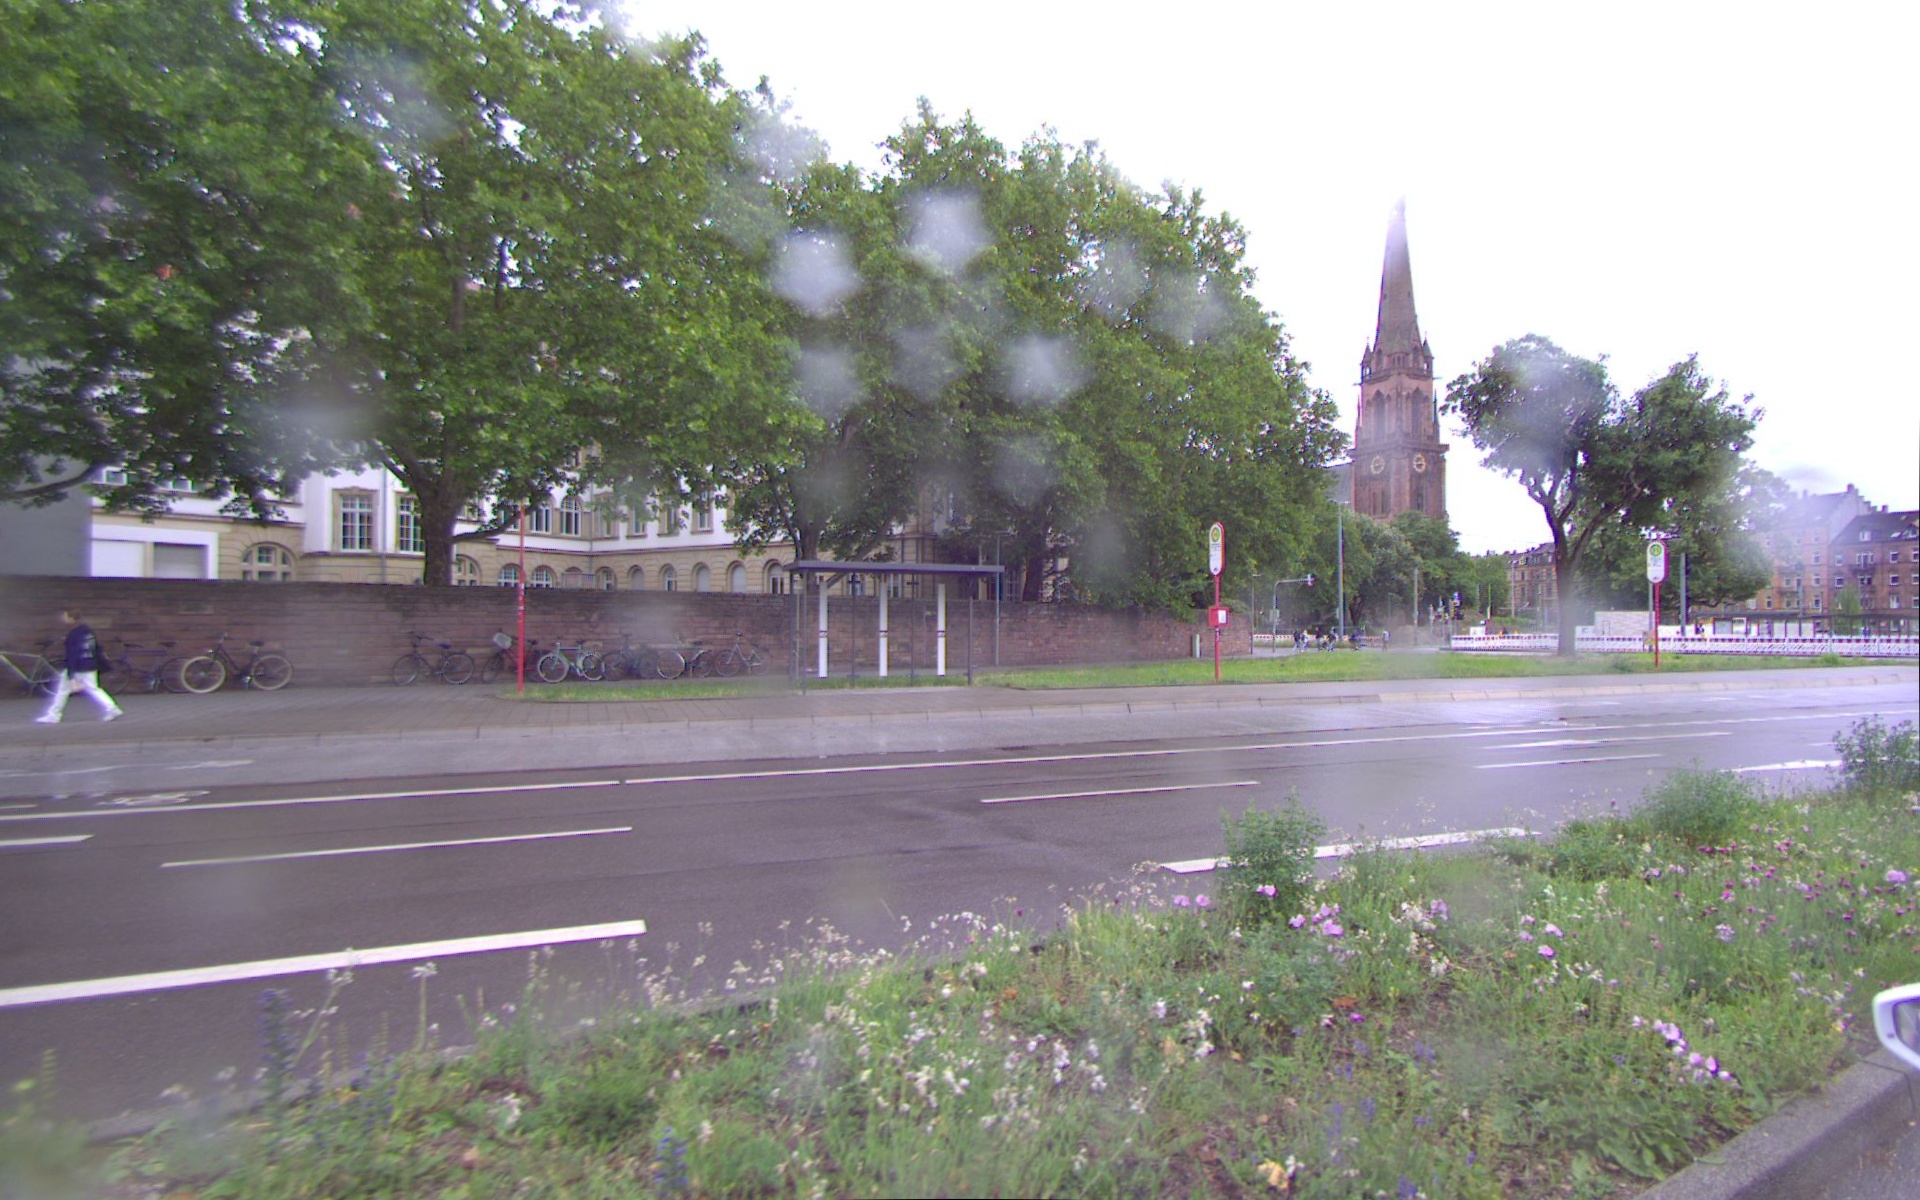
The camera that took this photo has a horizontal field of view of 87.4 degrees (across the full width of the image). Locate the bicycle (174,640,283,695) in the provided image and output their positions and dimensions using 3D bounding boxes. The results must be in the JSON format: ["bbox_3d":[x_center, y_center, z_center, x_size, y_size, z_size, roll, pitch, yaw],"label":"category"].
[{"bbox_3d":[-14.257,1.292,19.635,1.683,0.996,0.727,1,-1,-34],"label":"bicycle"}]

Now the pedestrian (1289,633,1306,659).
[{"bbox_3d":[26.451,3.595,78.792,0.941,2.040,0.855,0,-1,-19],"label":"pedestrian"}]

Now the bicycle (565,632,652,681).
[{"bbox_3d":[-8.650,1.382,24.764,1.974,1.151,0.568,1,-1,-39],"label":"bicycle"}]

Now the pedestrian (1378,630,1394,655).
[{"bbox_3d":[31.233,3.136,73.677,0.762,1.801,0.723,1,-1,-19],"label":"pedestrian"}]

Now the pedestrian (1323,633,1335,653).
[{"bbox_3d":[28.408,3.294,77.302,0.665,1.520,0.771,-1,-1,38],"label":"pedestrian"}]

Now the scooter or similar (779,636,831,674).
[{"bbox_3d":[-4.415,1.556,28.637,1.350,1.060,0.568,1,-1,-39],"label":"scooter or similar"}]

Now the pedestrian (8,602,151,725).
[{"bbox_3d":[-12.842,0.900,14.707,1.382,1.718,0.865,1,-1,-28],"label":"pedestrian"}]

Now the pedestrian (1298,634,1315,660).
[{"bbox_3d":[26.864,3.639,77.906,0.941,2.040,0.855,0,-1,-19],"label":"pedestrian"}]

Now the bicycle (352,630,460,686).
[{"bbox_3d":[-12.042,1.241,21.871,1.977,1.151,0.567,1,-1,-42],"label":"bicycle"}]

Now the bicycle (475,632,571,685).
[{"bbox_3d":[-10.133,1.334,23.332,1.977,1.151,0.567,1,-1,-42],"label":"bicycle"}]

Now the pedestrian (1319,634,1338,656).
[{"bbox_3d":[26.327,3.186,71.810,0.920,1.560,1.054,-1,-1,45],"label":"pedestrian"}]

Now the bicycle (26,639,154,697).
[{"bbox_3d":[-15.996,1.233,18.521,1.683,0.996,0.727,1,-1,-34],"label":"bicycle"}]

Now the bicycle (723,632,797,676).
[{"bbox_3d":[-5.504,1.475,27.697,1.974,1.151,0.568,1,-1,-39],"label":"bicycle"}]

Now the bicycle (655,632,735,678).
[{"bbox_3d":[-6.896,1.415,26.186,1.974,1.151,0.568,1,-1,-39],"label":"bicycle"}]

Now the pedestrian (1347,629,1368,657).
[{"bbox_3d":[29.346,3.183,74.187,0.984,2.040,1.301,-1,-1,45],"label":"pedestrian"}]

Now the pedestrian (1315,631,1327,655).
[{"bbox_3d":[29.350,3.521,81.665,0.594,1.915,0.603,1,-1,-25],"label":"pedestrian"}]
